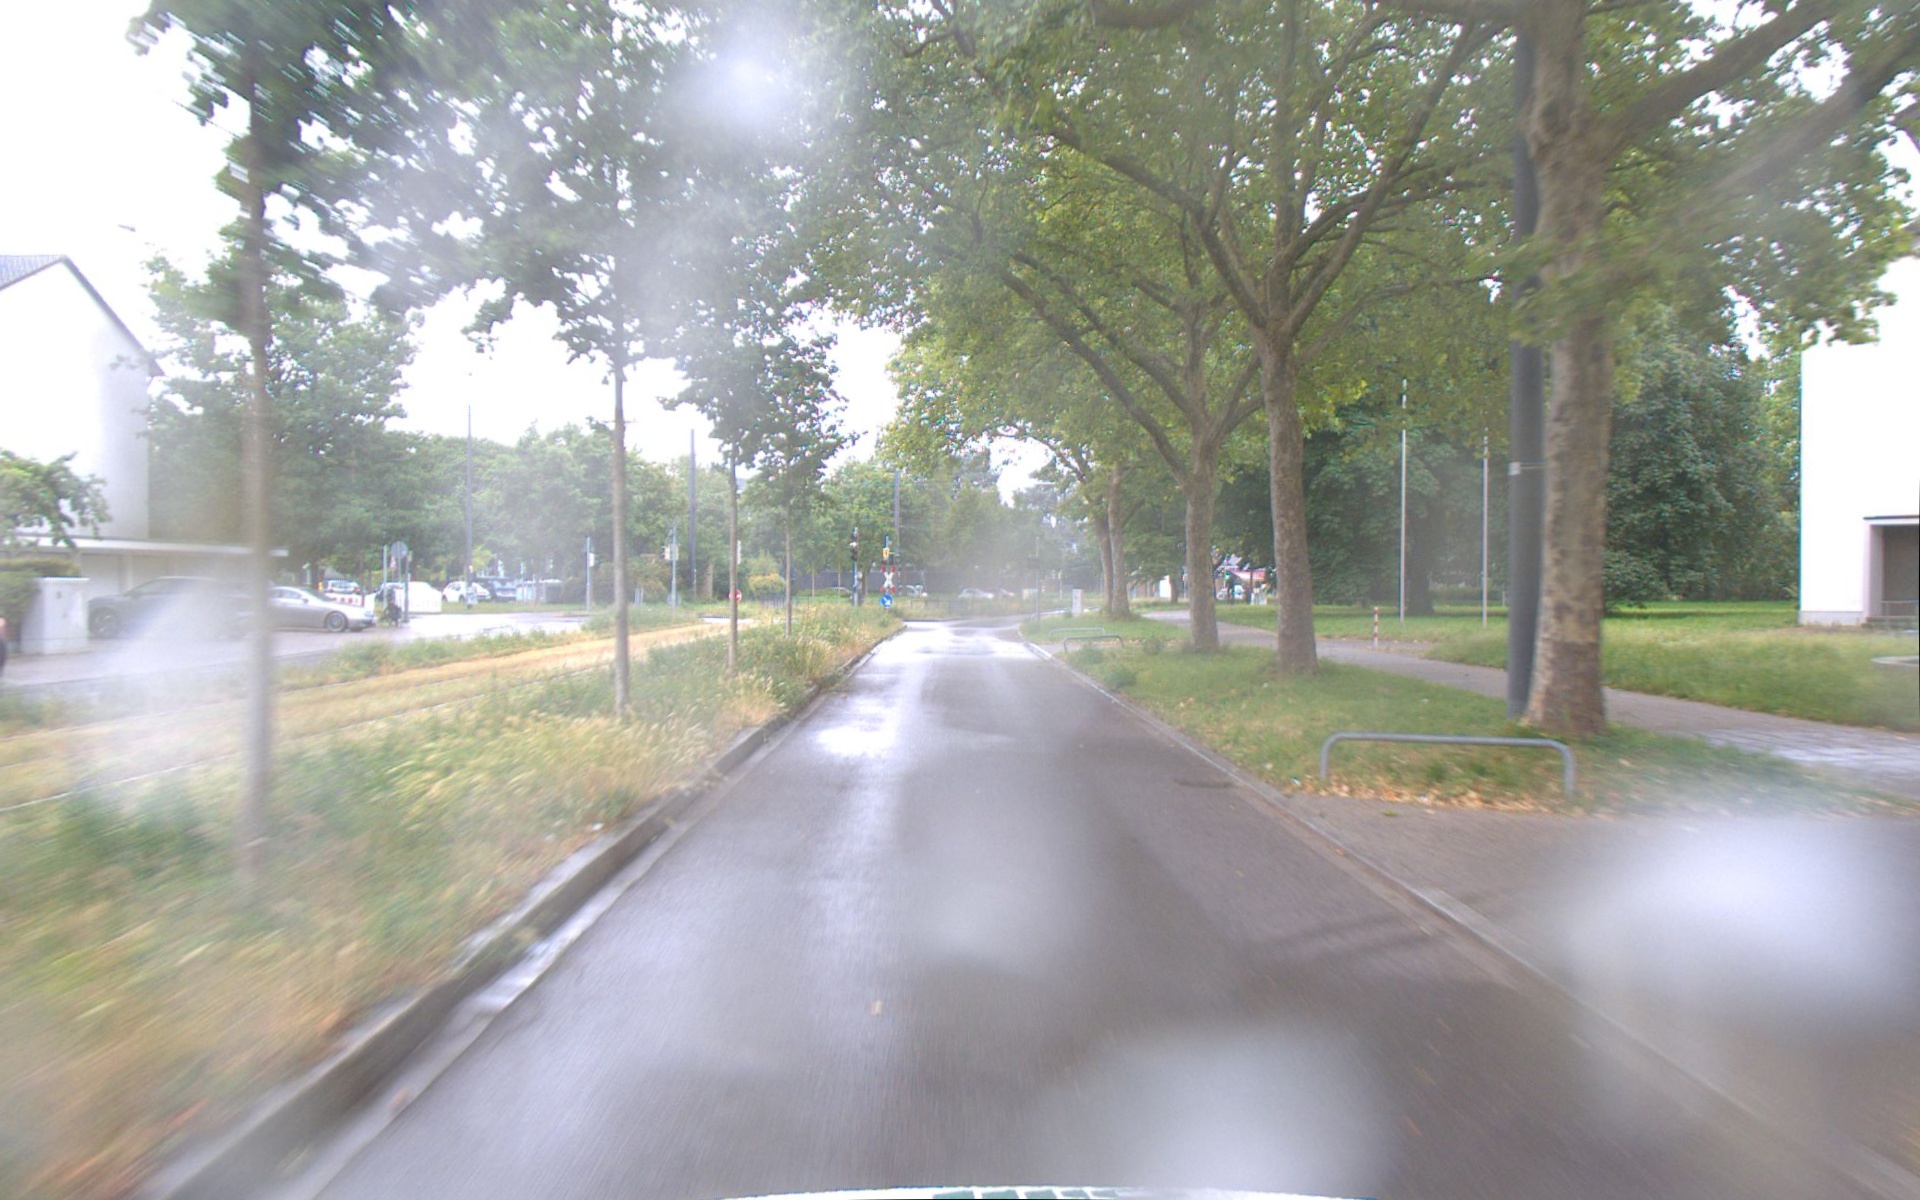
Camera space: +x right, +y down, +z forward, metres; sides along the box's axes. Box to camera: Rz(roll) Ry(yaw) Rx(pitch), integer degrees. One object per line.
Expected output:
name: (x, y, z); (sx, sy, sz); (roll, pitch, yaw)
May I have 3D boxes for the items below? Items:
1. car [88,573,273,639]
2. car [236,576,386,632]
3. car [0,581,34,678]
car: (-20.415, 0.133, 43.448); (3.908, 1.645, 1.999); (-1, 1, -4)
car: (-20.214, 0.106, 51.662); (3.908, 1.645, 1.999); (-1, 1, -4)
car: (-16.128, 0.476, 24.985); (1.953, 1.514, 4.204); (2, 1, -2)
